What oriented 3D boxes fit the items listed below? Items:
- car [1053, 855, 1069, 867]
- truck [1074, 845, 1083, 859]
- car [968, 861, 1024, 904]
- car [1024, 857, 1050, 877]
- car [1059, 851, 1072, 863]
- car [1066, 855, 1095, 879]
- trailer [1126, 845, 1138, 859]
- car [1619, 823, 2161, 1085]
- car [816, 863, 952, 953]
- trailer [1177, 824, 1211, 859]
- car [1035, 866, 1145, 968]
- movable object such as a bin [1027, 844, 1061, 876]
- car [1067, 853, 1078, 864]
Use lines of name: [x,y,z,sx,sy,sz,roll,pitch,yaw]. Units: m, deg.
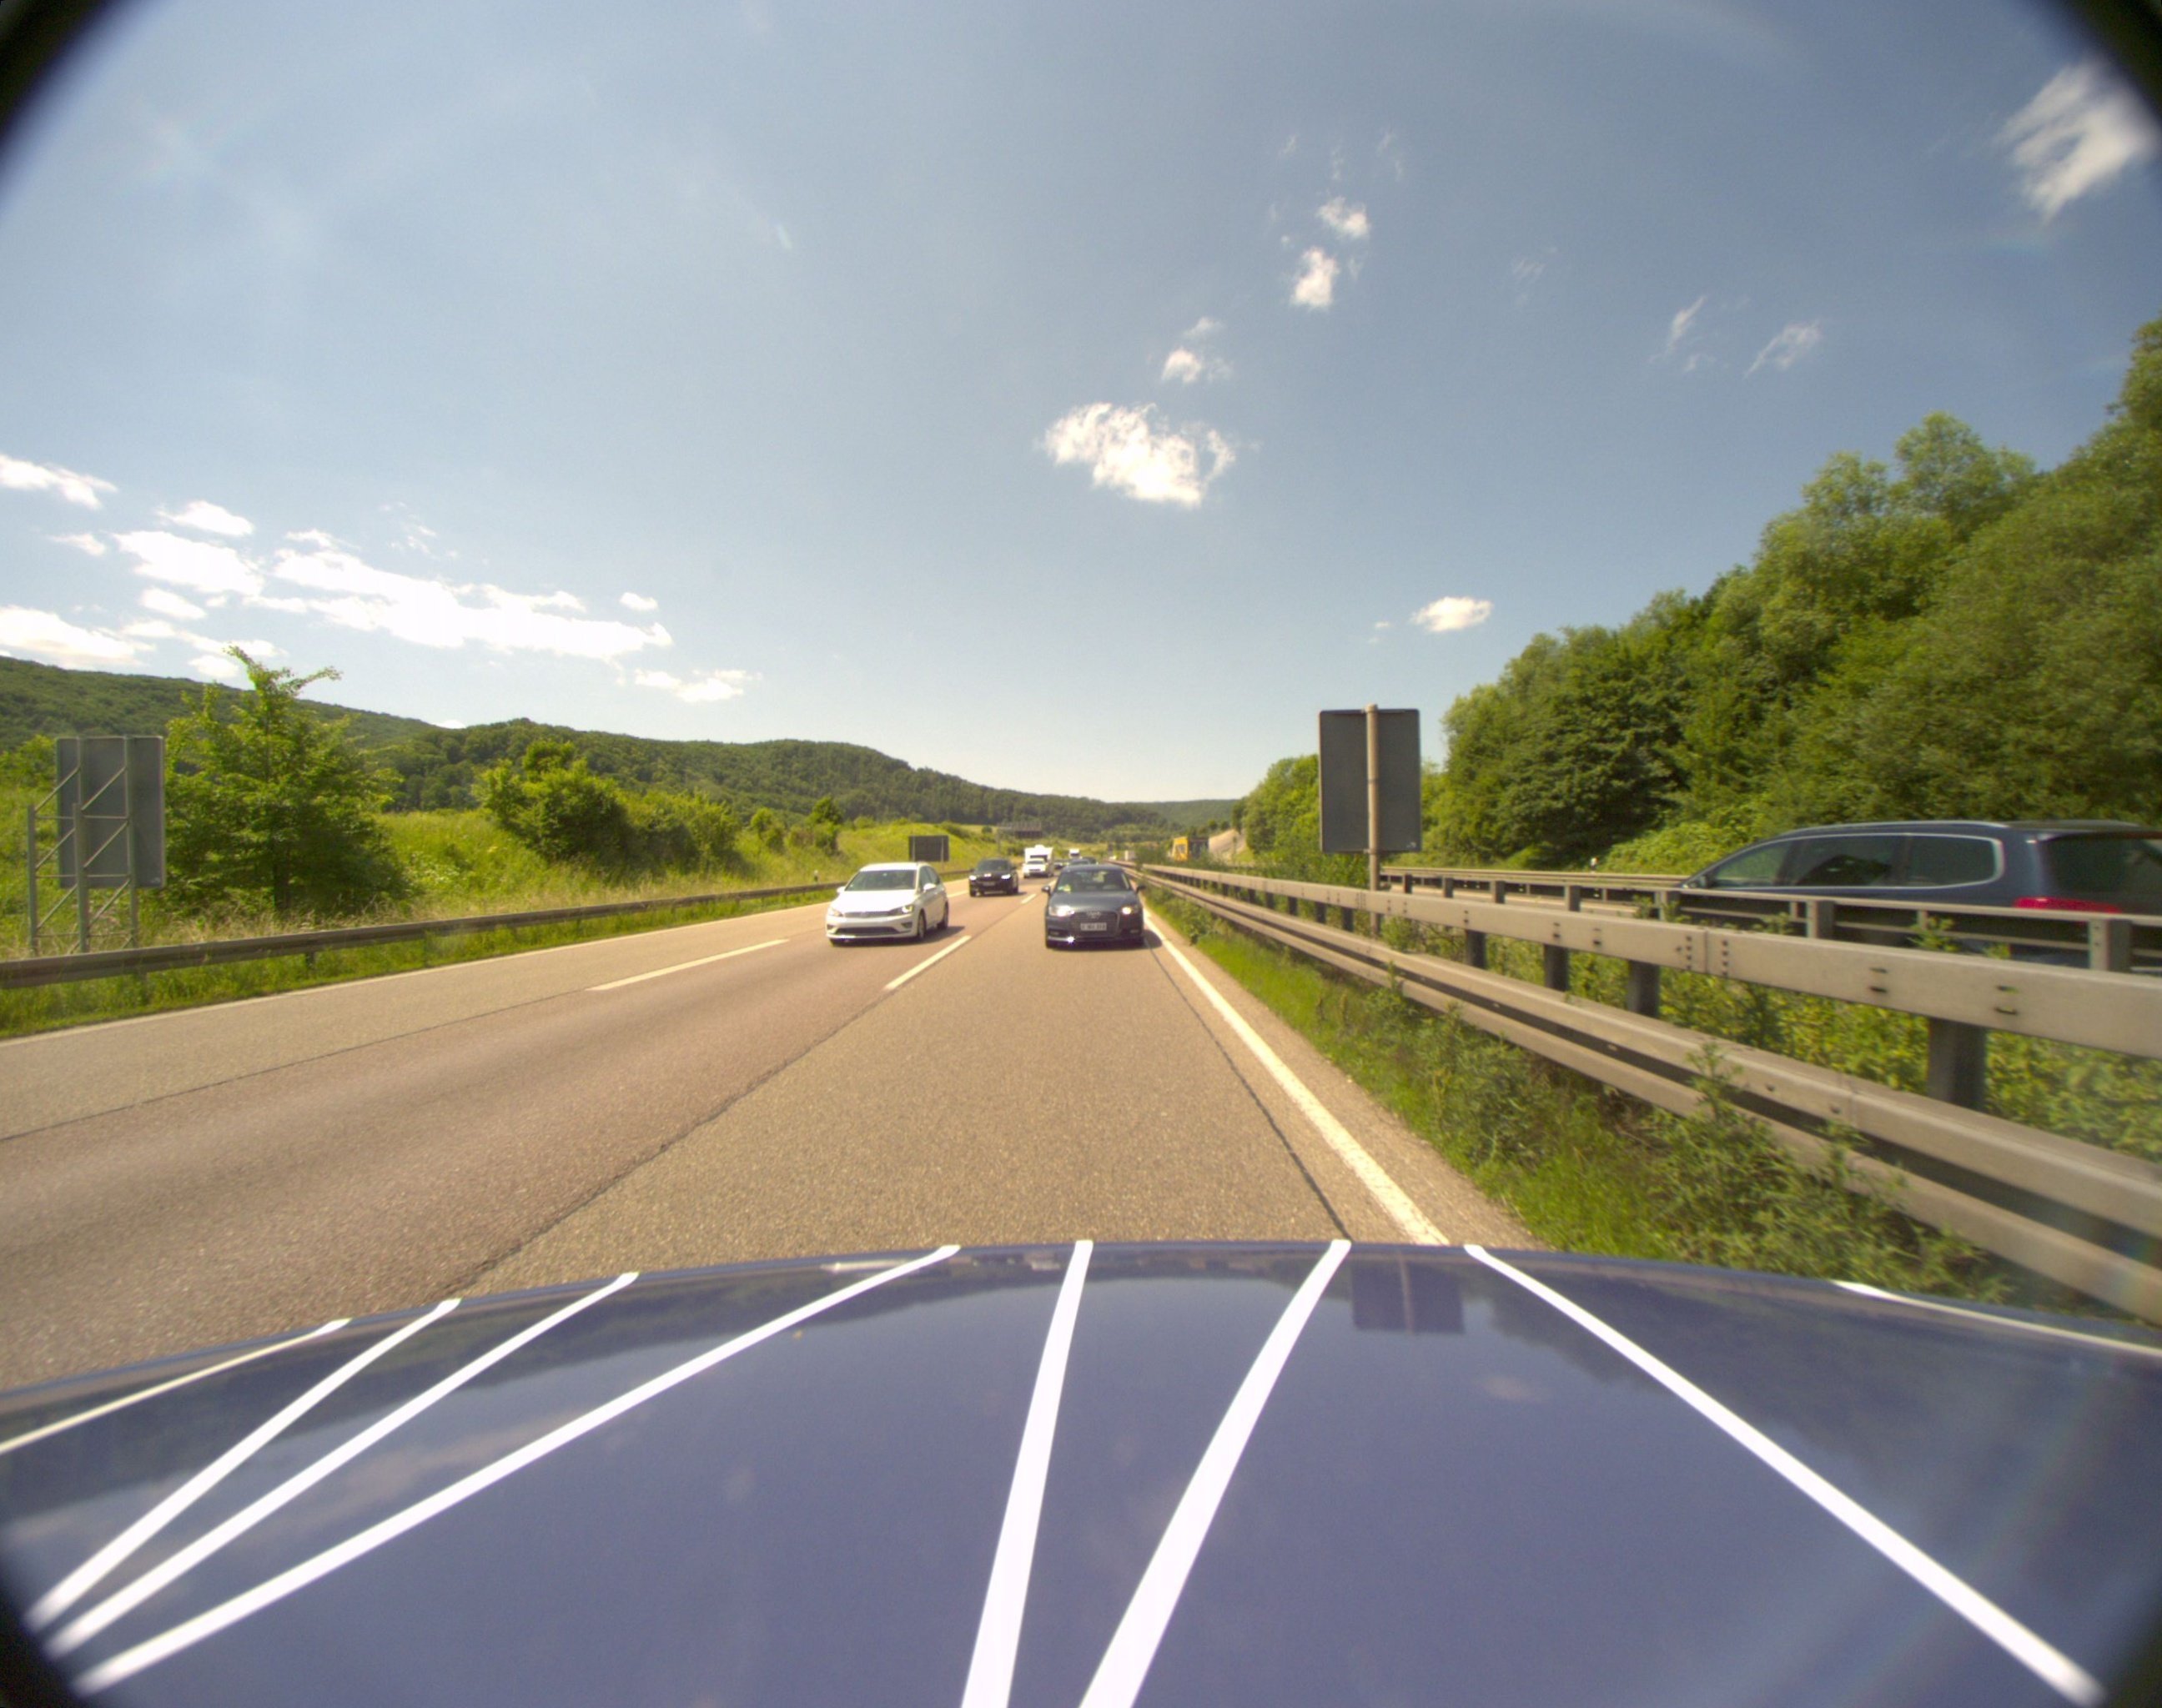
car: [-2.520,0.850,96.630,1.711,1.542,4.000,-1,0,1]
truck: [-0.611,-0.492,210.455,2.336,3.623,7.006,-2,0,1]
car: [-3.723,1.238,34.066,1.893,1.761,4.172,-1,0,2]
car: [-3.567,1.036,62.116,1.821,1.574,4.000,-1,0,1]
car: [-2.562,0.529,127.227,1.999,2.002,3.999,-1,0,-3]
car: [-0.022,0.864,52.002,1.835,1.586,4.001,-1,0,2]
trailer: [15.299,-0.621,227.510,2.863,4.052,11.263,0,0,0]
car: [7.932,0.664,7.518,1.927,1.786,4.600,-2,0,0]
car: [-3.922,1.007,15.849,1.777,1.532,4.054,-2,0,-1]
trailer: [14.071,-1.499,95.367,2.587,3.982,12.601,-2,0,2]
car: [0.278,0.967,13.252,1.591,1.401,4.001,-2,0,4]
movable object such as a bin: [-3.315,0.512,69.037,2.481,2.616,6.709,-2,0,1]
car: [-1.767,0.910,157.259,1.998,2.002,4.000,-2,0,0]
